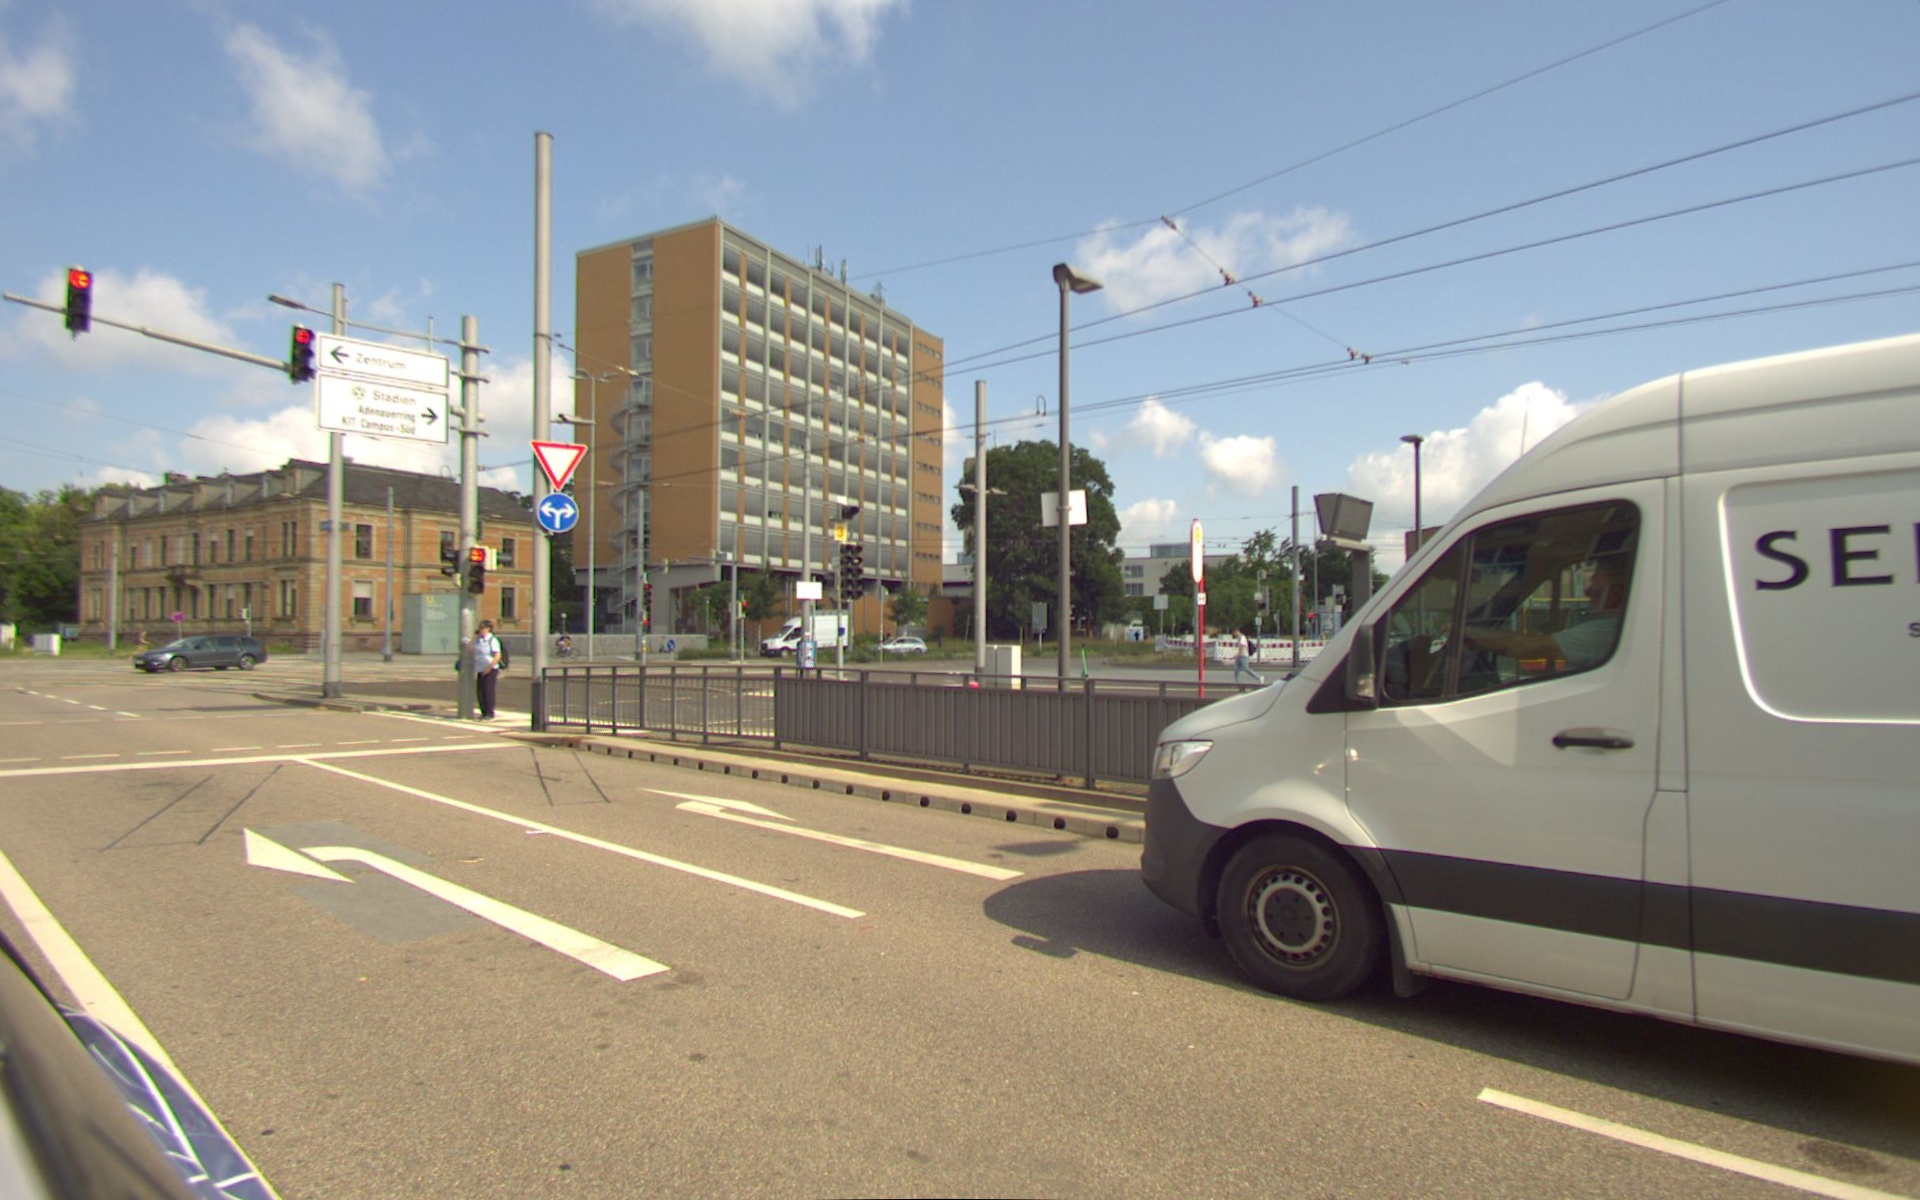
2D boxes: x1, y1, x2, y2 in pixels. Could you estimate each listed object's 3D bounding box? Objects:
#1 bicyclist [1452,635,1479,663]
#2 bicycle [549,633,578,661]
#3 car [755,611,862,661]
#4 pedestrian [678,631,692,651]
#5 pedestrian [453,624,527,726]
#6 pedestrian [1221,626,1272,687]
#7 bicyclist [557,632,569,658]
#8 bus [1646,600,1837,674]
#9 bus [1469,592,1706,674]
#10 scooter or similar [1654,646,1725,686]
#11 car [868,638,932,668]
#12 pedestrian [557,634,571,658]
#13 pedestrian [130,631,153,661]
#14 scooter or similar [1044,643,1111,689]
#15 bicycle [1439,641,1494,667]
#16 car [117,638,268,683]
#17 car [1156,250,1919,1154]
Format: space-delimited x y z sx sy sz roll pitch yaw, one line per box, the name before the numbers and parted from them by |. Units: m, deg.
bicyclist | 22.884 2.202 45.793 0.727 1.161 0.698 4 2 -7
bicycle | -25.678 3.018 65.610 1.611 1.791 0.733 0 -2 -10
car | -9.299 2.200 62.229 6.047 2.901 2.492 1 -2 -35
pedestrian | -21.506 3.191 79.052 0.925 1.600 0.765 0 -2 -3
pedestrian | -8.036 1.259 17.312 0.794 1.686 0.834 -1 -3 39
pedestrian | 8.227 1.615 29.083 1.080 1.702 0.931 -1 -1 -7
bicyclist | -25.736 2.907 65.602 0.645 1.683 0.575 0 -2 -10
bus | 28.651 1.344 37.240 4.999 2.607 2.705 0 -2 -6
bus | 22.647 1.202 36.722 6.992 2.855 2.703 0 -2 -5
scooter or similar | 18.476 1.666 25.678 0.466 0.957 1.665 0 -2 -5
car | -4.222 3.744 71.894 4.072 1.785 2.005 0 3 -36
pedestrian | -26.458 3.061 67.640 0.752 1.600 0.775 2 -2 -24
pedestrian | -48.188 2.718 59.569 0.855 1.750 0.776 -1 -2 28
scooter or similar | 3.555 1.974 30.666 1.495 1.198 1.319 4 3 43
bicycle | 22.893 2.435 45.794 2.038 1.000 0.814 4 2 -7
car | -30.776 2.401 40.753 1.985 1.290 4.514 3 3 20
car | 3.649 0.322 3.548 5.577 2.642 1.973 -1 -3 41
